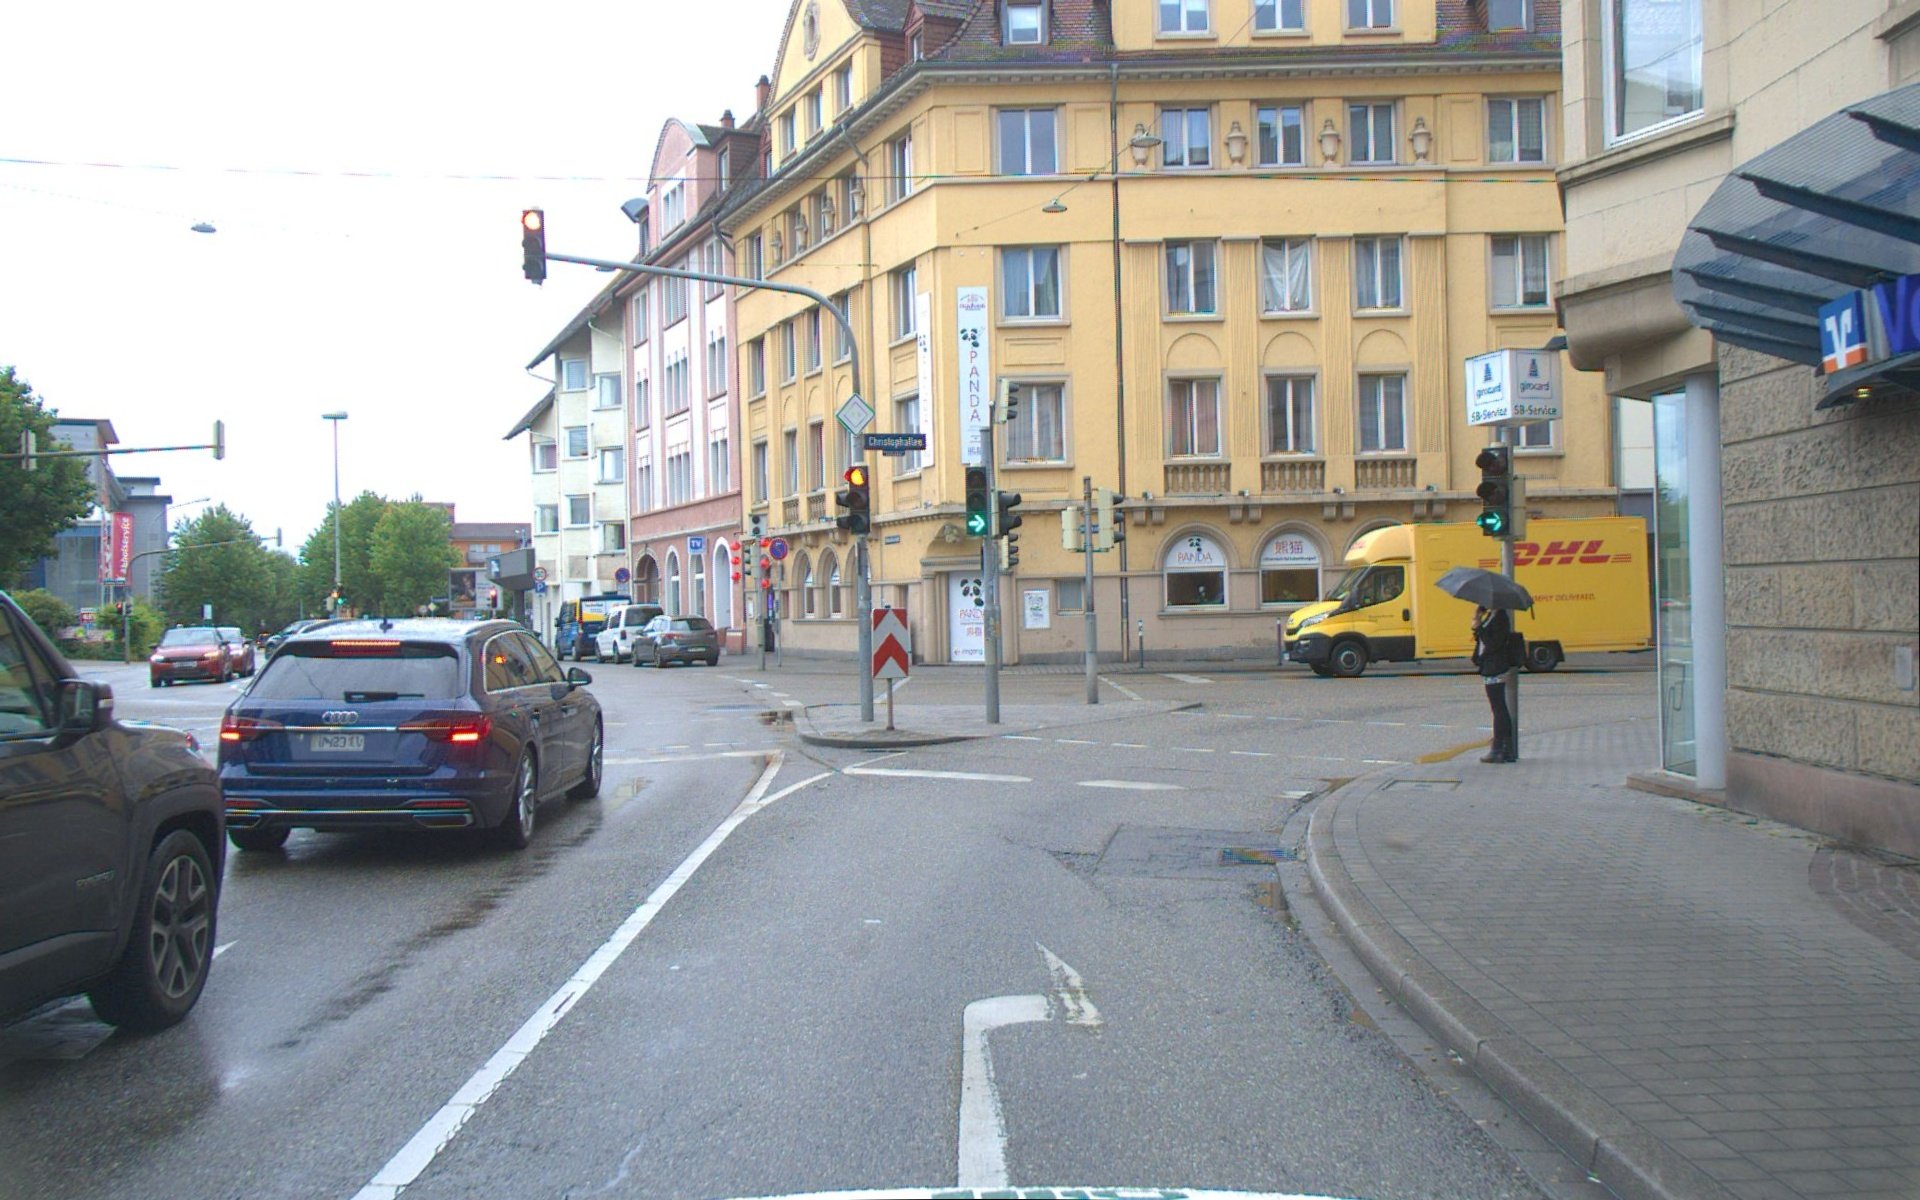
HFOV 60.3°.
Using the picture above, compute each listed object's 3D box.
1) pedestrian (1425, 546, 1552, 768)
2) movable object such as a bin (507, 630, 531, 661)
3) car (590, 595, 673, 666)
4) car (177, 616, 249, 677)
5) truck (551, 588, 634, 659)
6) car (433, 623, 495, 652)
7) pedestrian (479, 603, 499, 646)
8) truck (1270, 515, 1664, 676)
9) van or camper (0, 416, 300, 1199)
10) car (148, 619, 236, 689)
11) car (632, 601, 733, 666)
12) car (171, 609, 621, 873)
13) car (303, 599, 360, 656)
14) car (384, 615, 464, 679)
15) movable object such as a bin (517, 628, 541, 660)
[{"bbox_3d":[4.834,0.505,15.135,1.035,1.937,1.025,-1,0,19],"label":"pedestrian"},{"bbox_3d":[-18.374,1.892,68.957,0.738,1.253,0.976,4,-2,-25],"label":"movable object such as a bin"},{"bbox_3d":[-10.701,0.947,53.661,1.740,2.218,3.967,0,0,-26],"label":"car"},{"bbox_3d":[-21.798,1.325,48.370,1.739,1.663,3.601,-1,0,-22],"label":"car"},{"bbox_3d":[-13.124,0.813,58.897,2.001,2.431,4.201,0,0,-26],"label":"truck"},{"bbox_3d":[-36.722,2.784,122.389,3.956,2.049,1.974,2,-1,-37],"label":"car"},{"bbox_3d":[-21.913,1.128,76.967,0.714,1.971,0.786,0,-1,-27],"label":"pedestrian"},{"bbox_3d":[9.707,-0.078,32.043,6.947,2.901,2.082,-1,-1,-1],"label":"truck"},{"bbox_3d":[-3.535,0.607,4.738,1.818,2.184,4.139,-1,0,-4],"label":"van or camper"},{"bbox_3d":[-19.885,1.364,42.958,1.819,1.713,3.973,1,-1,-22],"label":"car"},{"bbox_3d":[-7.988,0.918,47.320,1.855,1.665,3.969,-2,1,-25],"label":"car"},{"bbox_3d":[-3.565,0.804,11.412,1.767,1.430,4.680,0,-1,-4],"label":"car"},{"bbox_3d":[-23.919,1.034,62.912,1.966,2.049,3.974,-1,0,-22],"label":"car"},{"bbox_3d":[-16.616,1.418,51.168,1.967,1.847,3.971,-1,0,-23],"label":"car"},{"bbox_3d":[-17.648,1.803,67.713,0.738,1.253,0.976,4,-2,-25],"label":"movable object such as a bin"}]
